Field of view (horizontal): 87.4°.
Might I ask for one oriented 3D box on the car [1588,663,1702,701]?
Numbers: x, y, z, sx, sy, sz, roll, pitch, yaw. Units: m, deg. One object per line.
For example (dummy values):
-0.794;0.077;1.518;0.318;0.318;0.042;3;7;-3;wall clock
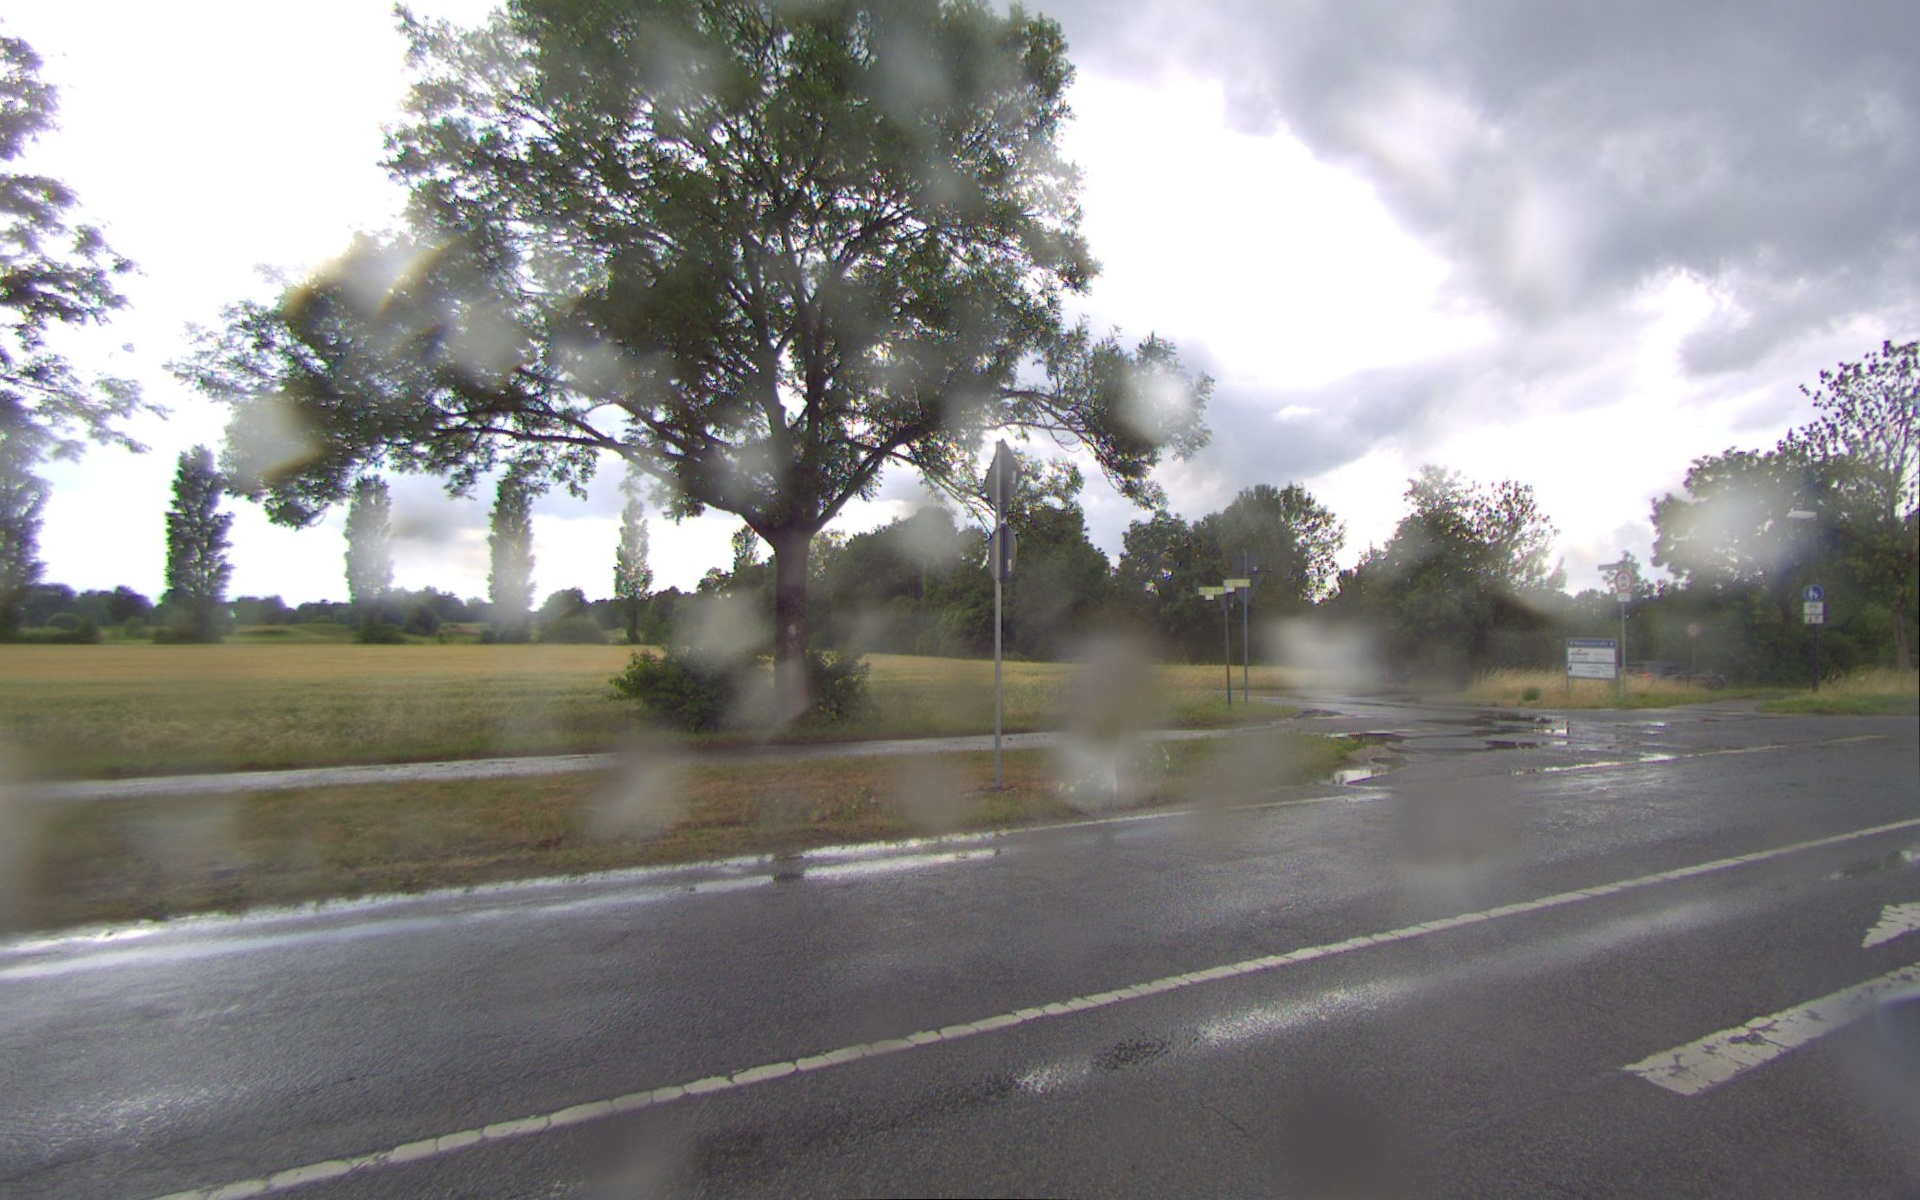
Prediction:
32.291;3.851;47.360;4.566;1.568;2.297;2;0;-23;car
